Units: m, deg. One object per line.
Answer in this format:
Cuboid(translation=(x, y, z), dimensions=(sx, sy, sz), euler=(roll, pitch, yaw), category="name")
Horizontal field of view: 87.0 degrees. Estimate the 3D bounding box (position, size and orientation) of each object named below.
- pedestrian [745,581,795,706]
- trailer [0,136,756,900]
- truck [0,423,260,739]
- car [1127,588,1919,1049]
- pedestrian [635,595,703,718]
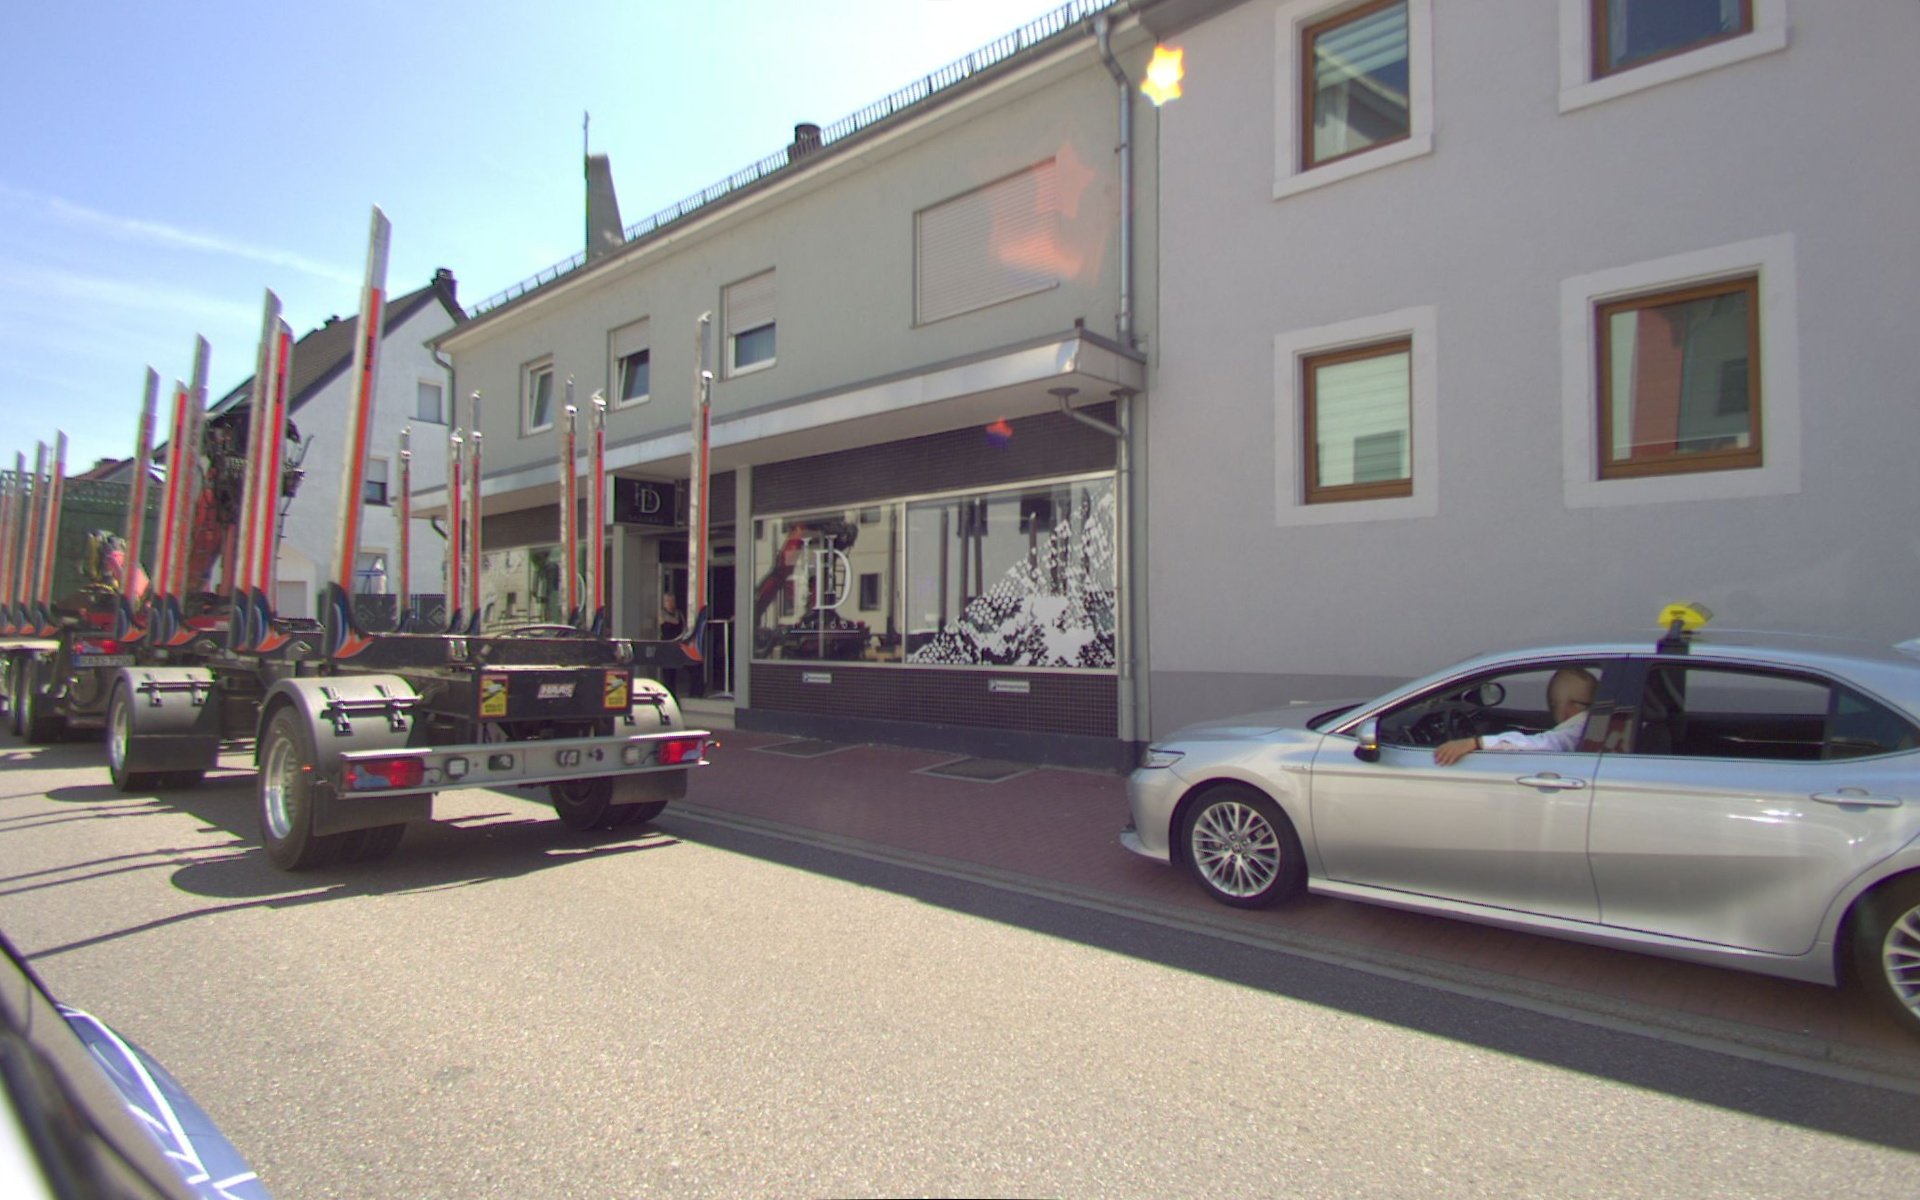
Cuboid(translation=(-2.690, 0.599, 14.357), dimensions=(0.655, 1.726, 0.632), euler=(0, 0, -7), category="pedestrian")
Cuboid(translation=(-8.314, -0.261, 11.369), dimensions=(15.687, 4.010, 2.603), euler=(-1, -4, 40), category="trailer")
Cuboid(translation=(-13.789, -0.129, 16.039), dimensions=(6.847, 4.016, 2.591), euler=(-1, -4, 40), category="truck")
Cuboid(translation=(3.225, 0.765, 4.757), dimensions=(4.564, 1.569, 1.789), euler=(-2, 0, 42), category="car")
Cuboid(translation=(-4.153, 0.793, 14.445), dimensions=(0.771, 1.697, 0.618), euler=(-2, -2, 41), category="pedestrian")
